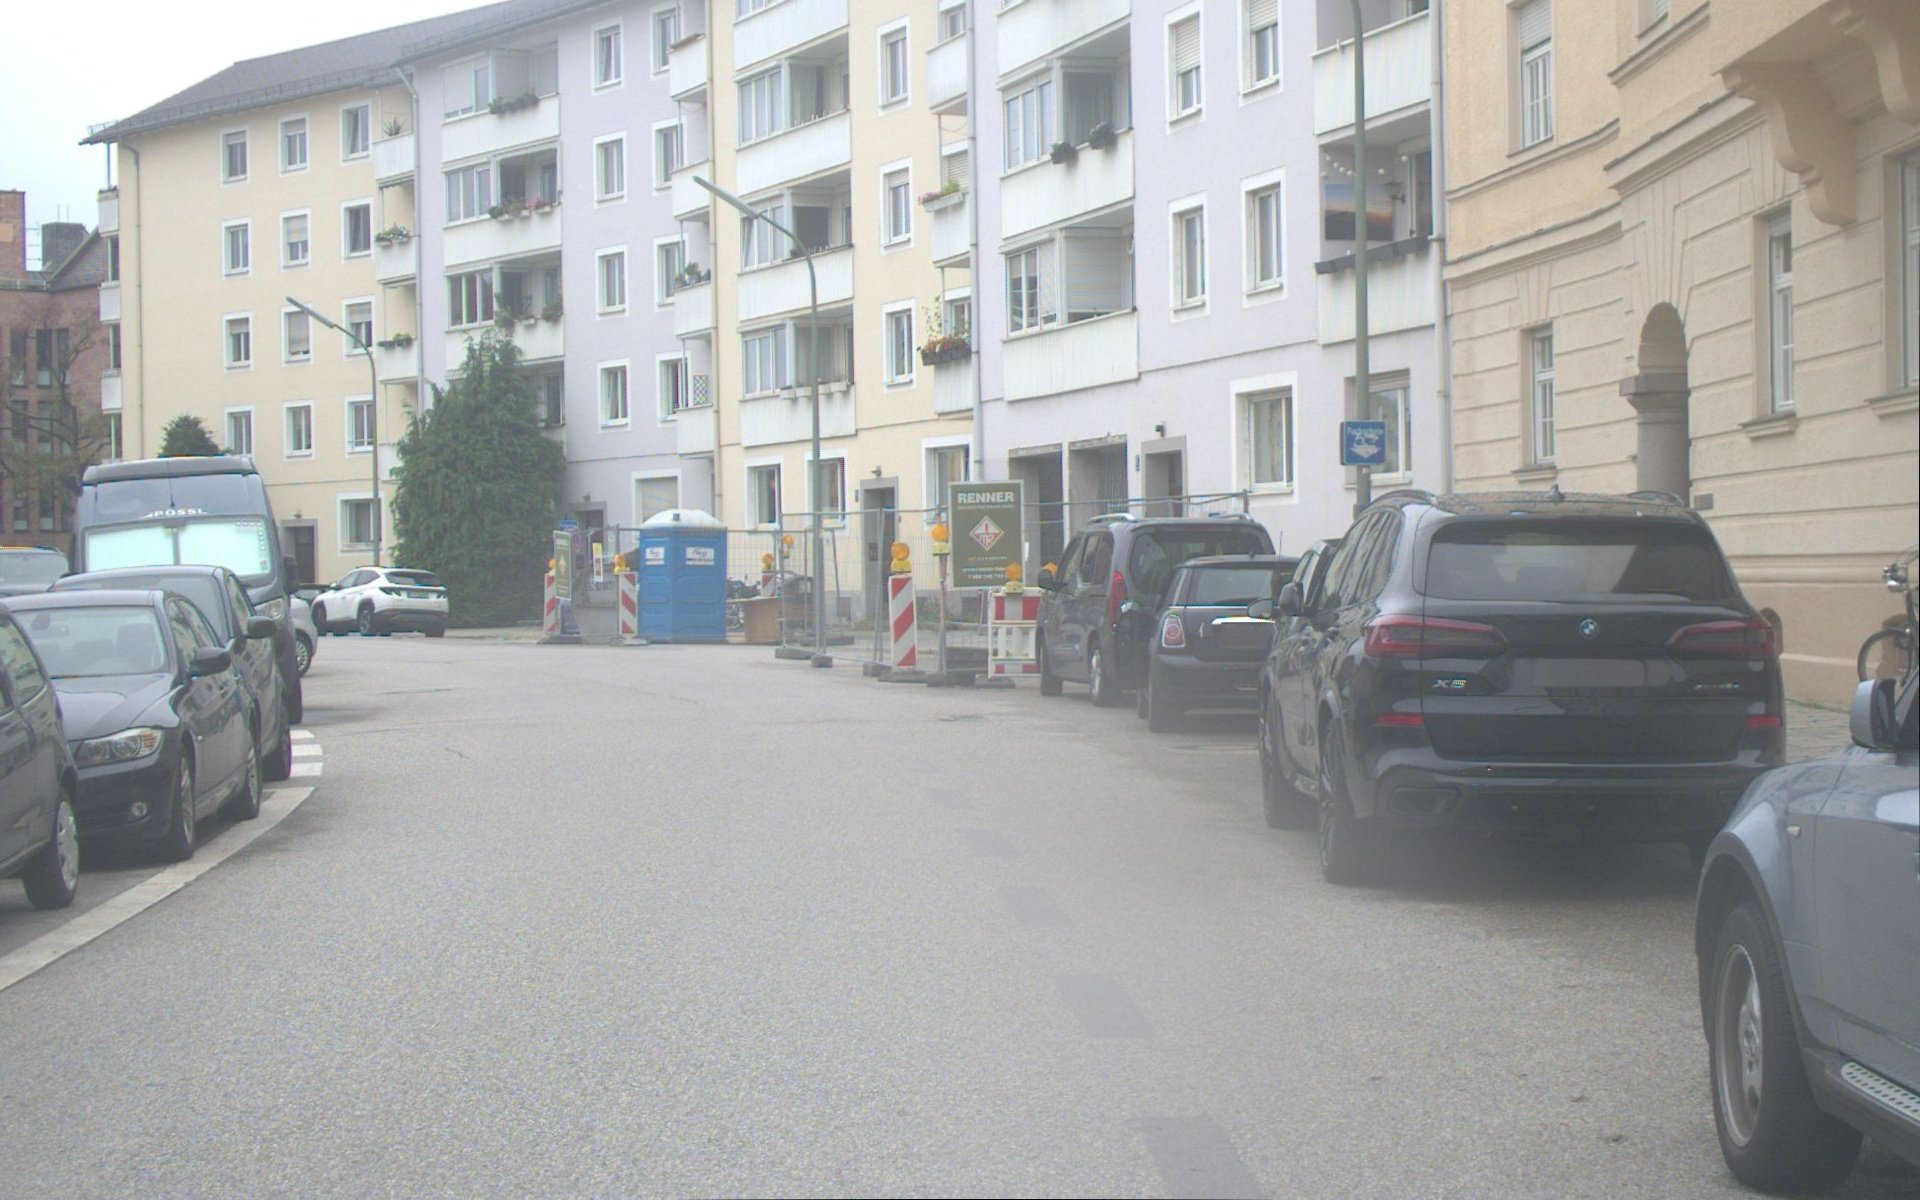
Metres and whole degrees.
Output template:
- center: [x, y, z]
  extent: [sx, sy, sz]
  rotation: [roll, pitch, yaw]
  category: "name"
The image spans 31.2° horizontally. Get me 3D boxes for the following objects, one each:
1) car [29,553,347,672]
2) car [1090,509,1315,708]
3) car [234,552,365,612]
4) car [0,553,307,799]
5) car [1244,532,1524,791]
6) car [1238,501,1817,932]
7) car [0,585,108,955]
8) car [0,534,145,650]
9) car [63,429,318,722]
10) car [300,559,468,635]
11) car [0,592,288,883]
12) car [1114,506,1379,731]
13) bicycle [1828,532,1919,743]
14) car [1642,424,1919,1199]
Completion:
- center: [-10.371, 0.173, 46.376]
  extent: [1.674, 1.525, 3.974]
  rotation: [1, 0, 40]
  category: "car"
- center: [2.297, 0.066, 33.572]
  extent: [1.836, 1.793, 4.238]
  rotation: [1, 0, 0]
  category: "car"
- center: [-16.016, -0.416, 83.238]
  extent: [1.658, 1.344, 3.803]
  rotation: [1, -1, -36]
  category: "car"
- center: [-5.408, 0.469, 23.016]
  extent: [1.666, 1.455, 2.868]
  rotation: [-3, 1, -5]
  category: "car"
- center: [2.704, 0.369, 22.401]
  extent: [1.507, 1.551, 2.862]
  rotation: [1, 0, 1]
  category: "car"
- center: [2.516, 0.412, 16.444]
  extent: [1.927, 1.724, 4.688]
  rotation: [1, 2, 0]
  category: "car"
- center: [-4.749, 0.712, 14.091]
  extent: [1.721, 1.476, 3.755]
  rotation: [-2, 0, -3]
  category: "car"
- center: [-14.786, -0.161, 55.781]
  extent: [1.993, 1.766, 4.815]
  rotation: [-1, 1, -26]
  category: "car"
- center: [-7.664, -0.257, 33.989]
  extent: [2.143, 2.565, 6.213]
  rotation: [-2, 1, -14]
  category: "car"
- center: [-13.290, -0.082, 79.164]
  extent: [2.026, 1.672, 4.612]
  rotation: [1, 0, -35]
  category: "car"
- center: [-4.845, 0.680, 18.711]
  extent: [1.721, 1.359, 4.213]
  rotation: [-2, 0, -3]
  category: "car"
- center: [2.314, 0.137, 28.636]
  extent: [1.836, 1.724, 3.730]
  rotation: [1, 0, 0]
  category: "car"
- center: [5.972, 0.214, 20.820]
  extent: [0.701, 1.242, 2.645]
  rotation: [-1, 0, -1]
  category: "bicycle"
- center: [2.643, 0.553, 6.494]
  extent: [1.777, 1.724, 4.390]
  rotation: [1, 0, 0]
  category: "car"
